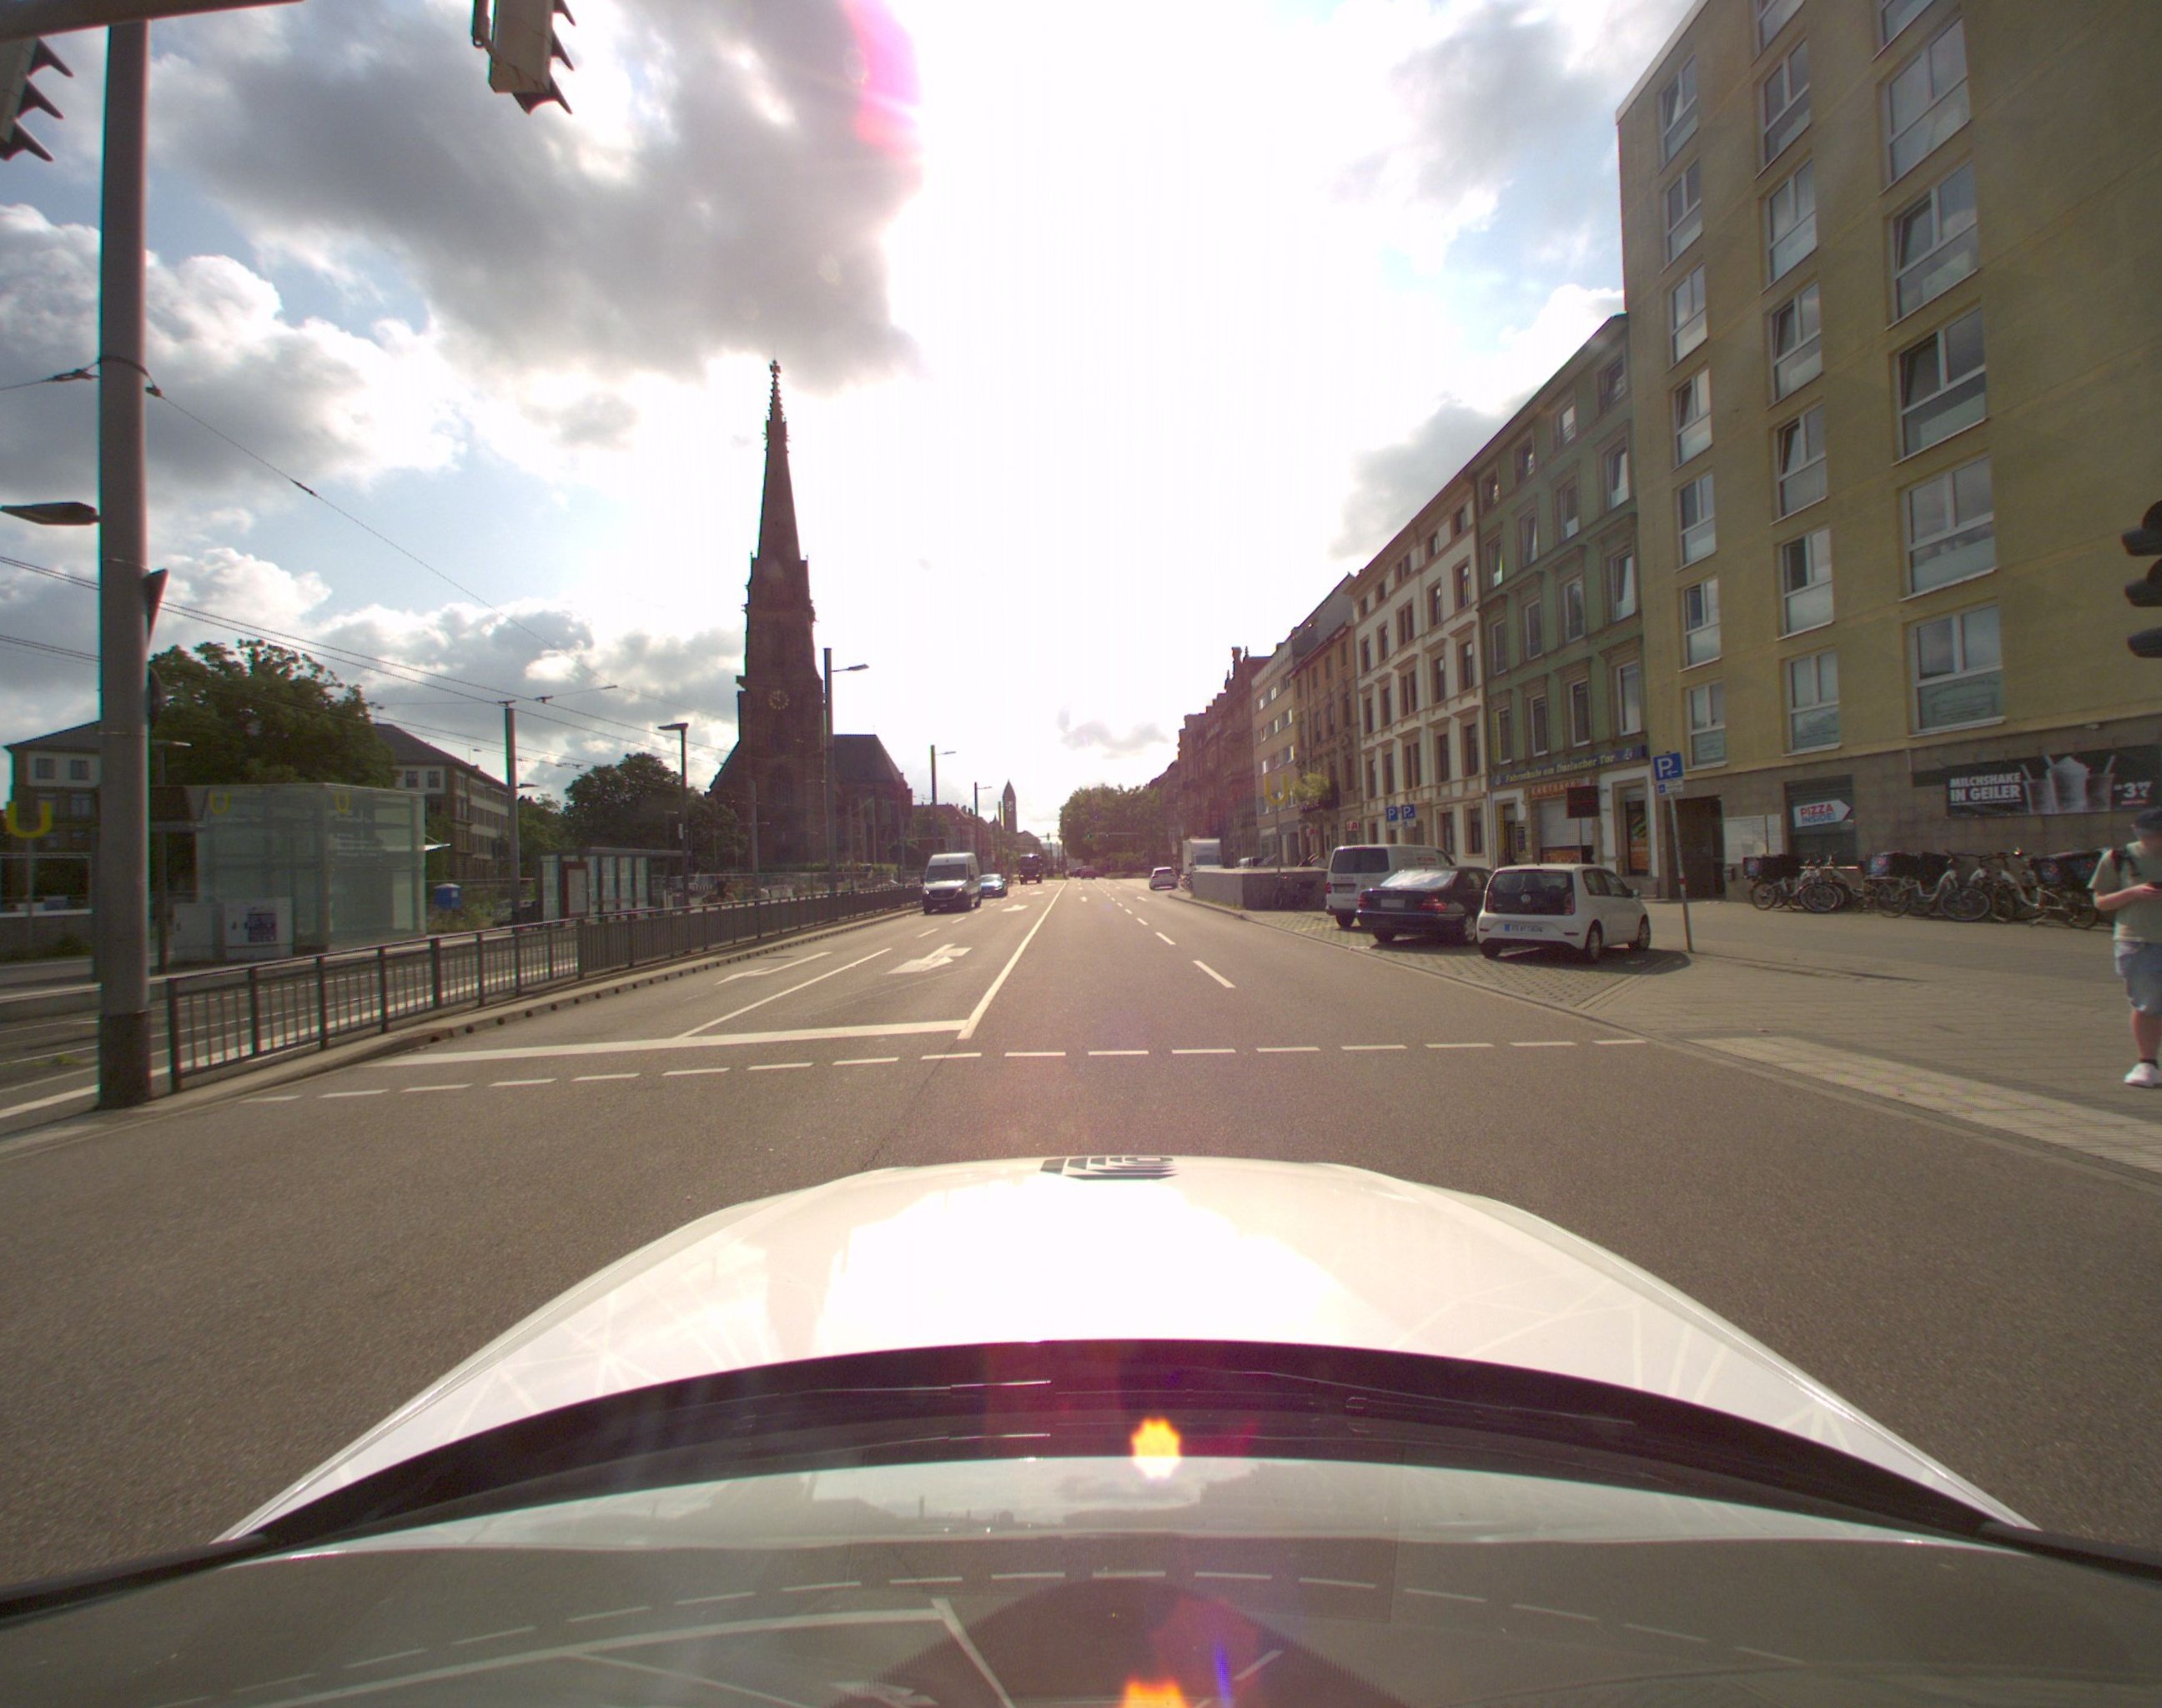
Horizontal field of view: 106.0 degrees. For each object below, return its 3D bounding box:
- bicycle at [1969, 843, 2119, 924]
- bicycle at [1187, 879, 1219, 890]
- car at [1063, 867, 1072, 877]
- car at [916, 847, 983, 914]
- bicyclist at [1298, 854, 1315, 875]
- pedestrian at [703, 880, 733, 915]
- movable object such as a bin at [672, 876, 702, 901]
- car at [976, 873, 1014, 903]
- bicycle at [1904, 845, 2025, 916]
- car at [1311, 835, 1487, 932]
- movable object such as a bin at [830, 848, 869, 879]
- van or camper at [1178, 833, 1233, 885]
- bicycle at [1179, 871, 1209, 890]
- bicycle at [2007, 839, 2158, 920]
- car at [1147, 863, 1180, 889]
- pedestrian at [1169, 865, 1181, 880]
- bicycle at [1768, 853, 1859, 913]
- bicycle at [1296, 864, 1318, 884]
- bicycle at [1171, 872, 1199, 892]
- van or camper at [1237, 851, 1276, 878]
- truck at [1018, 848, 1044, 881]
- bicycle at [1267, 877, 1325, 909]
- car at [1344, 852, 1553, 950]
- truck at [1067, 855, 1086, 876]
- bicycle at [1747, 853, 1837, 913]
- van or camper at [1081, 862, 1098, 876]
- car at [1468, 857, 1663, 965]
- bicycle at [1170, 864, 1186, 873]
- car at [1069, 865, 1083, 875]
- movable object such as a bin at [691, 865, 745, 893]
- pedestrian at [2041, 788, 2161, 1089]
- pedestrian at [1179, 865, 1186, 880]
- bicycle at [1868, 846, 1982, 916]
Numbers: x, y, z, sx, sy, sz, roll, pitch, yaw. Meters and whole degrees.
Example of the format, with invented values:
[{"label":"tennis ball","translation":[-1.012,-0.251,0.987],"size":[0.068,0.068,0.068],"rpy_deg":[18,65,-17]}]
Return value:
[{"label":"bicycle","translation":[15.560,0.446,13.224],"size":[0.544,1.201,1.647],"rpy_deg":[-2,1,4]},{"label":"bicycle","translation":[6.828,1.706,45.635],"size":[0.641,0.586,1.750],"rpy_deg":[-3,1,-40]},{"label":"car","translation":[-2.725,3.602,163.691],"size":[1.765,1.662,3.997],"rpy_deg":[-2,-4,-1]},{"label":"car","translation":[-5.777,1.060,36.512],"size":[1.988,2.621,5.578],"rpy_deg":[-4,1,-1]},{"label":"bicyclist","translation":[12.844,0.605,46.377],"size":[0.705,1.148,0.814],"rpy_deg":[0,-3,1]},{"label":"pedestrian","translation":[-19.677,2.341,44.159],"size":[0.992,1.799,1.048],"rpy_deg":[-1,3,5]},{"label":"movable object such as a bin","translation":[-39.383,3.396,81.468],"size":[1.999,2.206,4.247],"rpy_deg":[-2,1,-18]},{"label":"car","translation":[-5.416,2.133,51.756],"size":[1.844,1.455,4.555],"rpy_deg":[-4,2,0]},{"label":"bicycle","translation":[16.152,0.457,14.940],"size":[0.484,1.201,1.647],"rpy_deg":[-2,1,4]},{"label":"car","translation":[7.963,0.602,20.151],"size":[4.926,2.084,2.055],"rpy_deg":[-2,2,-41]},{"label":"movable object such as a bin","translation":[-30.061,1.171,105.915],"size":[2.651,3.730,5.606],"rpy_deg":[-2,1,7]},{"label":"van or camper","translation":[8.723,0.298,57.842],"size":[2.702,3.330,7.641],"rpy_deg":[-3,1,1]},{"label":"bicycle","translation":[6.974,1.613,50.170],"size":[1.756,1.085,0.372],"rpy_deg":[-2,2,-7]},{"label":"bicycle","translation":[16.111,0.368,13.162],"size":[0.484,1.201,1.647],"rpy_deg":[-2,1,4]},{"label":"car","translation":[5.531,1.459,55.185],"size":[1.784,1.437,4.344],"rpy_deg":[-6,0,1]},{"label":"pedestrian","translation":[8.534,1.646,74.037],"size":[0.748,1.316,0.812],"rpy_deg":[0,0,-39]},{"label":"bicycle","translation":[16.020,0.603,17.856],"size":[0.485,1.201,1.645],"rpy_deg":[-2,1,-1]},{"label":"bicycle","translation":[12.849,1.163,46.323],"size":[0.701,1.048,2.209],"rpy_deg":[0,-3,2]},{"label":"bicycle","translation":[6.062,1.631,47.597],"size":[1.602,1.085,0.370],"rpy_deg":[-2,2,-20]},{"label":"van or camper","translation":[14.596,0.823,68.103],"size":[1.988,1.904,5.297],"rpy_deg":[-5,1,-1]},{"label":"truck","translation":[-5.880,1.200,96.905],"size":[2.455,3.648,7.448],"rpy_deg":[-2,-1,0]},{"label":"bicycle","translation":[7.033,1.280,26.628],"size":[1.770,1.004,0.512],"rpy_deg":[0,0,-6]},{"label":"car","translation":[7.358,0.801,16.009],"size":[5.093,1.468,1.868],"rpy_deg":[-3,1,-43]},{"label":"truck","translation":[-0.806,2.128,149.263],"size":[3.159,3.287,7.294],"rpy_deg":[-1,-4,0]},{"label":"bicycle","translation":[15.501,0.605,17.812],"size":[0.485,1.201,1.645],"rpy_deg":[-2,1,-1]},{"label":"van or camper","translation":[1.165,2.164,116.693],"size":[2.005,1.915,4.515],"rpy_deg":[0,-3,-4]},{"label":"car","translation":[7.834,0.795,13.061],"size":[3.531,1.440,1.699],"rpy_deg":[-1,0,-42]},{"label":"bicycle","translation":[13.913,2.104,116.908],"size":[2.186,1.180,0.683],"rpy_deg":[-2,1,-5]},{"label":"car","translation":[-0.812,2.545,128.987],"size":[1.988,1.508,3.997],"rpy_deg":[-2,-1,-2]},{"label":"movable object such as a bin","translation":[-40.208,2.745,90.272],"size":[4.888,2.802,1.999],"rpy_deg":[-2,-1,-1]},{"label":"pedestrian","translation":[6.765,0.495,5.020],"size":[0.997,1.760,0.779],"rpy_deg":[0,-3,-25]},{"label":"pedestrian","translation":[13.815,2.453,110.725],"size":[0.883,2.013,0.996],"rpy_deg":[0,0,0]},{"label":"bicycle","translation":[15.625,0.470,15.133],"size":[0.484,1.201,1.647],"rpy_deg":[-2,1,4]}]
